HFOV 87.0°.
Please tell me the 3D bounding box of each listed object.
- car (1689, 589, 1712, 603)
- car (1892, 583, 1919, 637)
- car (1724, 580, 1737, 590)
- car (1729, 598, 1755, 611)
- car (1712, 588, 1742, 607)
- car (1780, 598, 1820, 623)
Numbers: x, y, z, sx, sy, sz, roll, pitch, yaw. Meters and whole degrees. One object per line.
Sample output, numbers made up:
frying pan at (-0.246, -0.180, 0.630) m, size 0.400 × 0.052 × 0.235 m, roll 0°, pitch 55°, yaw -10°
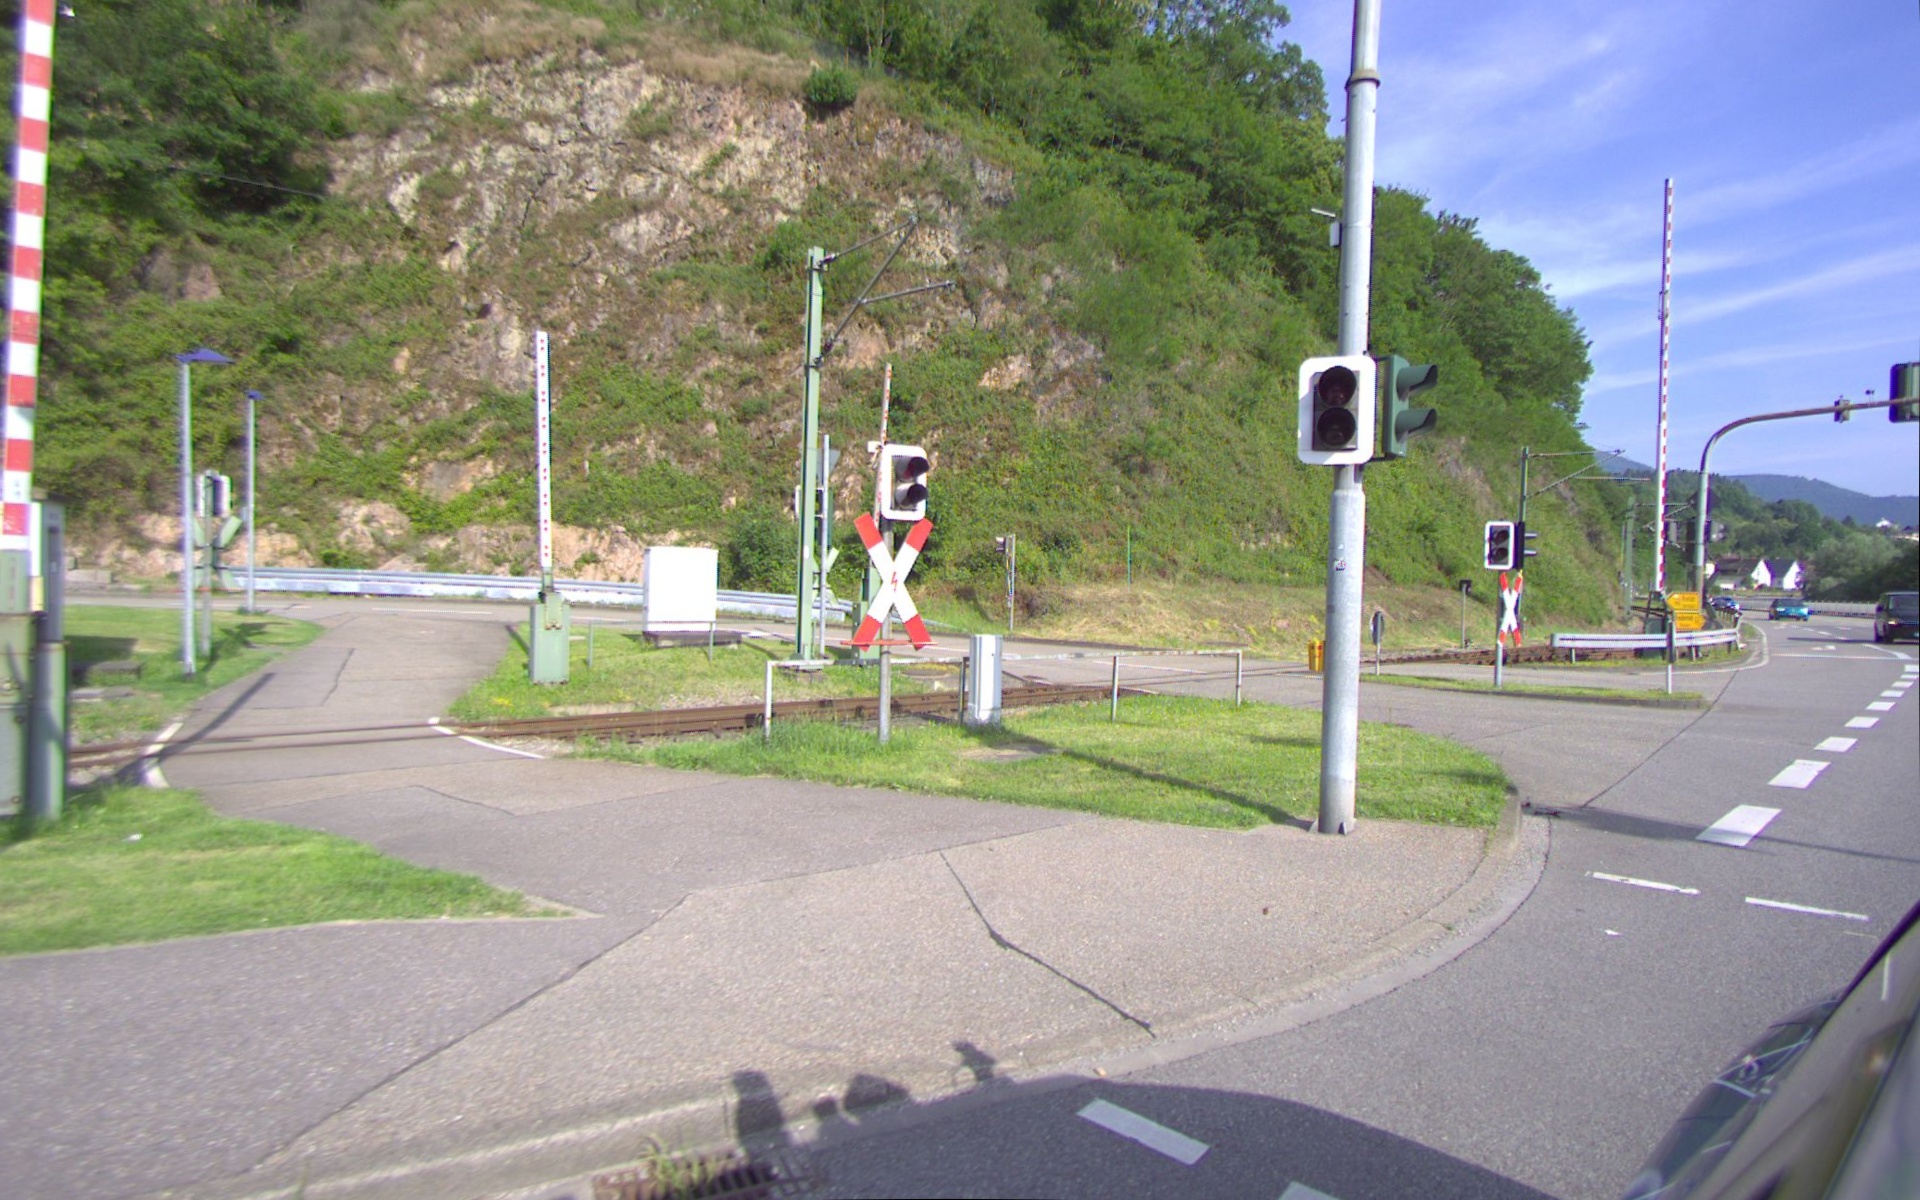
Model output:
car at (85.971, -0.500, 117.499) m, size 1.864 × 1.478 × 3.687 m, roll 3°, pitch 3°, yaw 33°
car at (35.901, 0.364, 37.487) m, size 1.902 × 1.903 × 4.282 m, roll -2°, pitch -1°, yaw 42°
car at (157.951, -3.036, 207.556) m, size 1.987 × 2.039 × 3.949 m, roll 0°, pitch 0°, yaw 35°
car at (94.237, 0.525, 121.986) m, size 1.773 × 1.500 × 4.478 m, roll 1°, pitch 1°, yaw 30°
car at (76.894, -0.292, 101.499) m, size 1.984 × 1.816 × 3.956 m, roll 1°, pitch 1°, yaw 31°
car at (57.934, 0.714, 69.840) m, size 1.758 × 1.478 × 3.532 m, roll 3°, pitch 3°, yaw 35°
